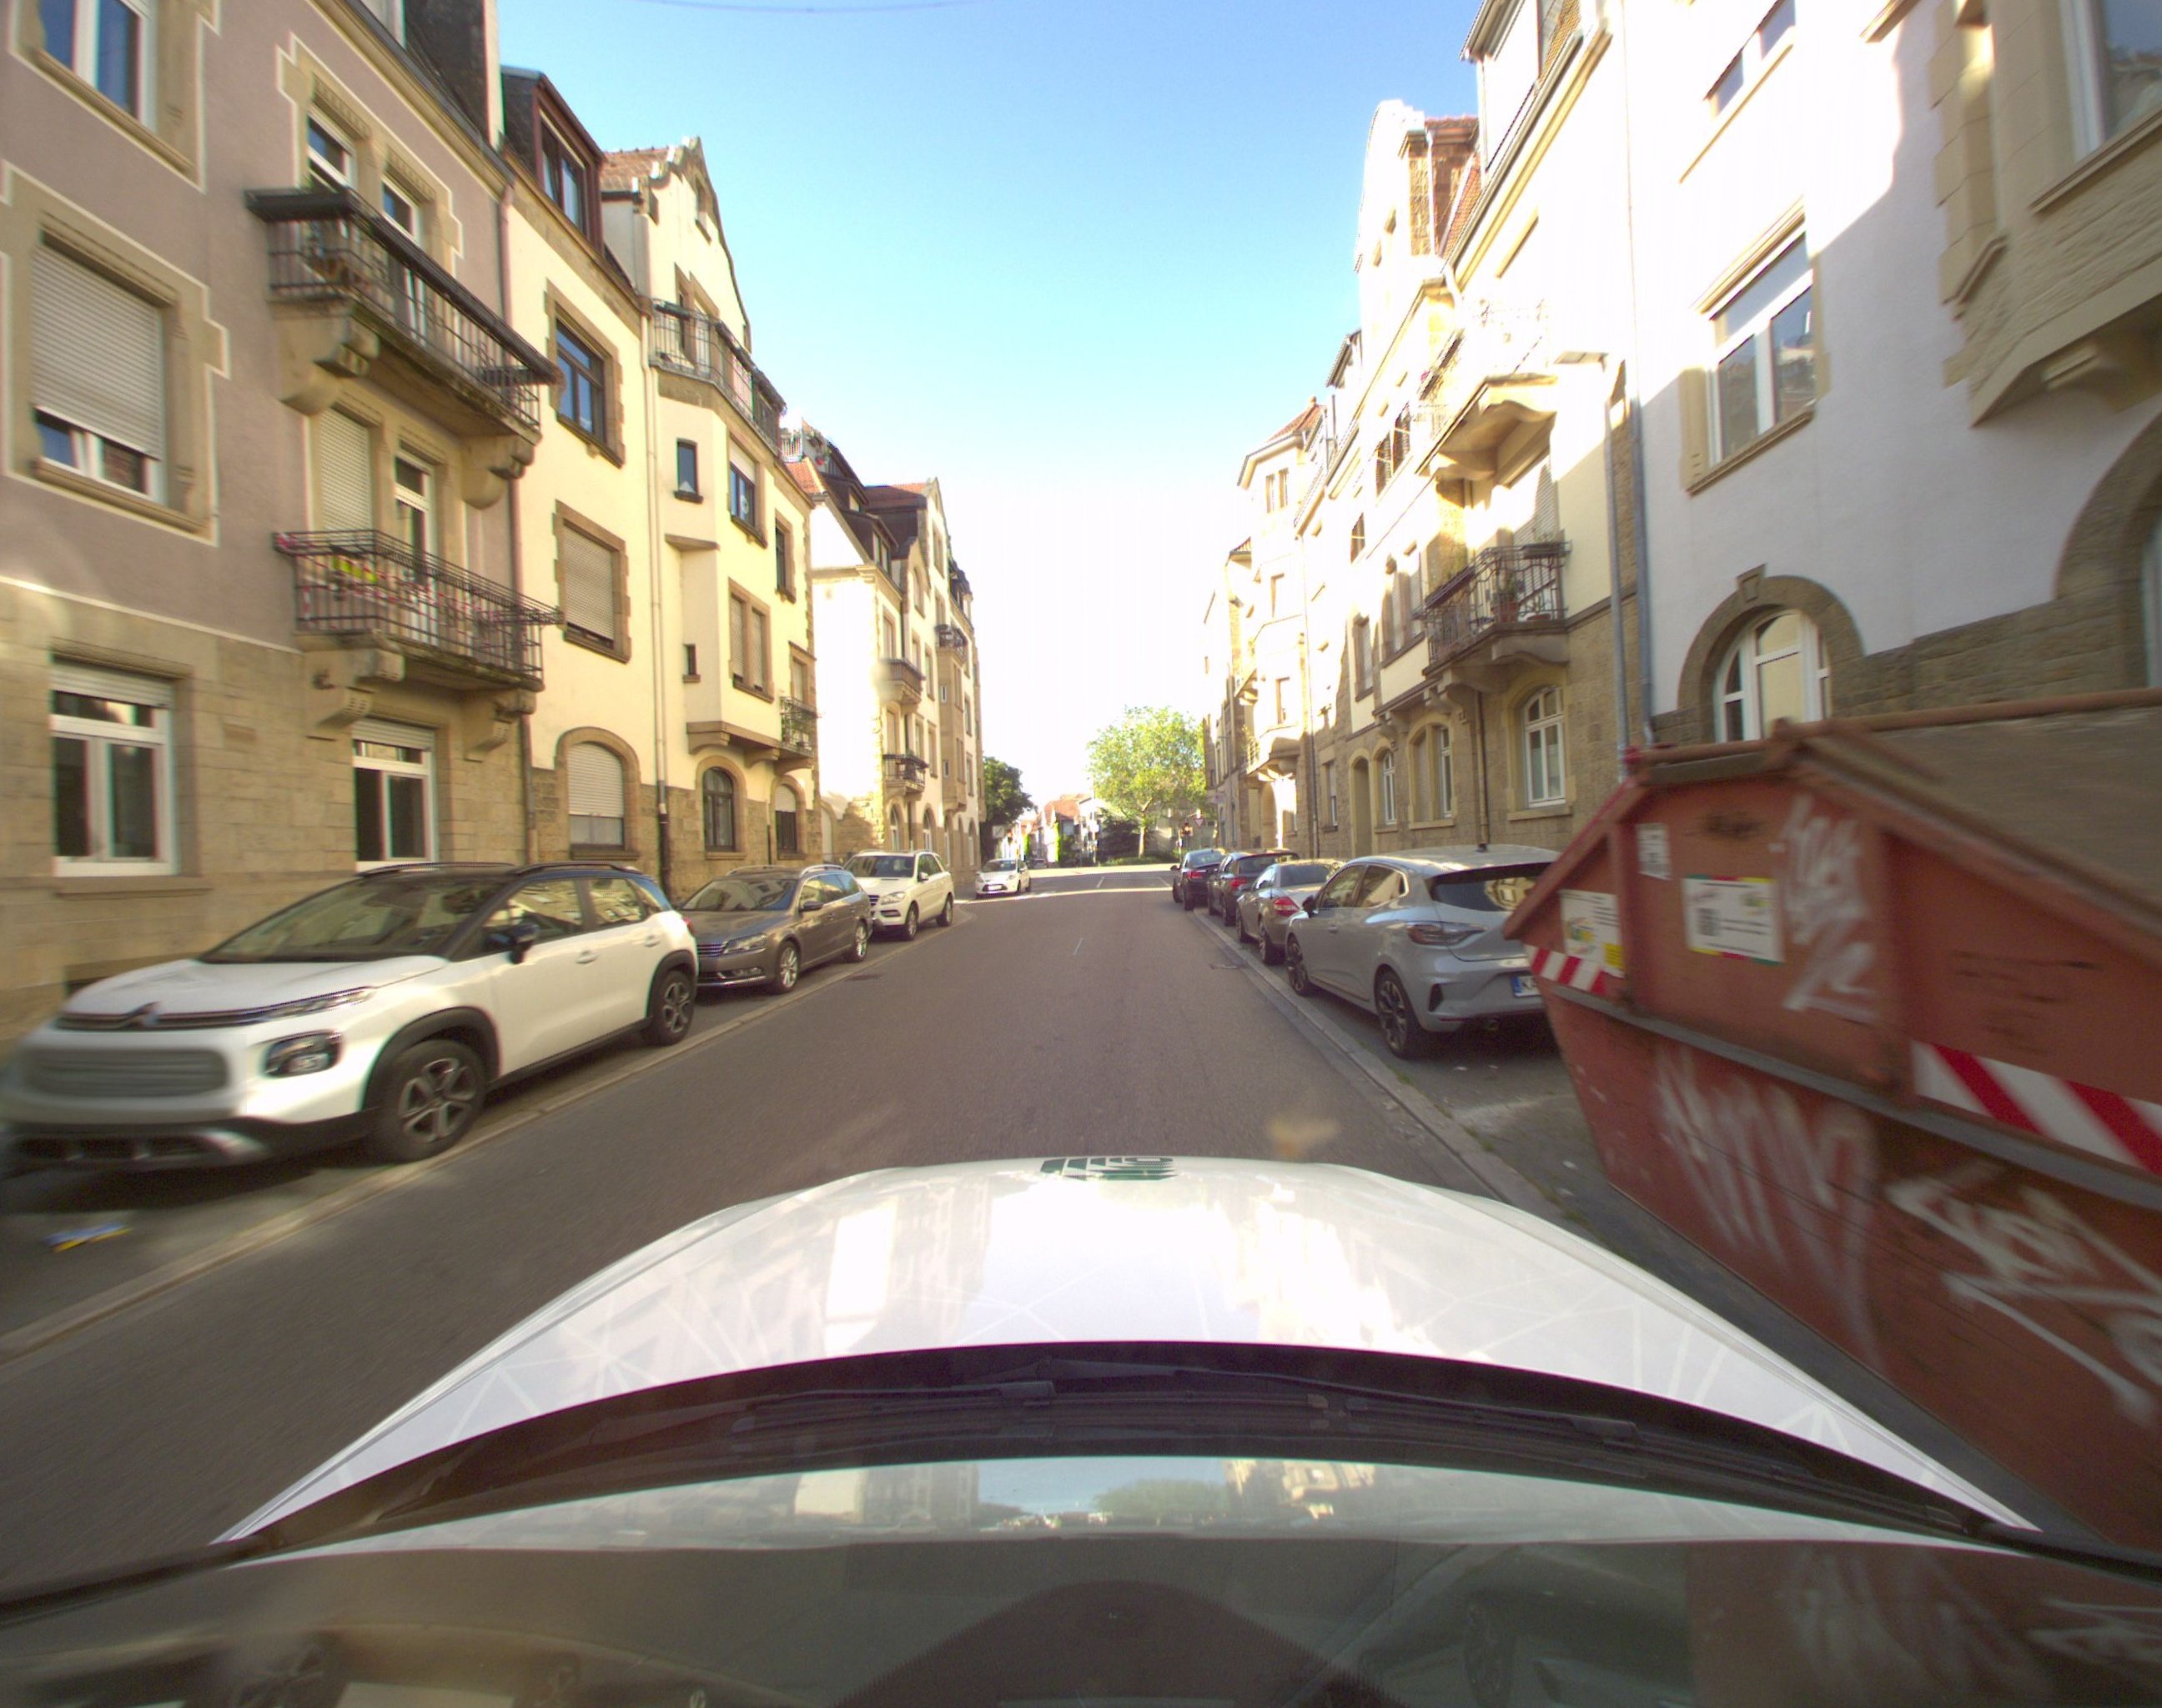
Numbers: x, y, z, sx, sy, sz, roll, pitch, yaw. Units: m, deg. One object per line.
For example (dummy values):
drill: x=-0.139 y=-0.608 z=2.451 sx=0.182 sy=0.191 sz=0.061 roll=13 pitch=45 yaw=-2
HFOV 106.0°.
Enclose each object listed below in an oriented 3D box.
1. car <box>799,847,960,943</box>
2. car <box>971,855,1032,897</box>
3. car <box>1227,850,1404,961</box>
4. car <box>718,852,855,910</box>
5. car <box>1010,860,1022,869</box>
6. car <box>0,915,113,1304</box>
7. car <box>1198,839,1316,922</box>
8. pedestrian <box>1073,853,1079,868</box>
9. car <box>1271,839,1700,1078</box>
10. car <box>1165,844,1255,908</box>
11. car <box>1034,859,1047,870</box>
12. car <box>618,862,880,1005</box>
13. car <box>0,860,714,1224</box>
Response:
car: x=-3.972 y=0.744 z=16.972 sx=1.884 sy=1.722 sz=4.730 roll=0 pitch=0 yaw=4
car: x=-3.047 y=0.828 z=32.011 sx=1.626 sy=1.464 sz=3.740 roll=-2 pitch=0 yaw=6
car: x=3.211 y=0.626 z=11.916 sx=1.685 sy=1.254 sz=3.946 roll=-3 pitch=0 yaw=4
car: x=-10.188 y=0.918 z=28.384 sx=3.953 sy=1.728 sz=1.910 roll=-3 pitch=0 yaw=2
car: x=-11.189 y=1.828 z=140.587 sx=1.737 sy=1.336 sz=3.822 roll=-3 pitch=0 yaw=-9
car: x=-4.809 y=0.953 z=1.478 sx=1.666 sy=1.393 sz=3.667 roll=1 pitch=0 yaw=1
car: x=3.548 y=0.474 z=17.118 sx=1.645 sy=1.442 sz=4.261 roll=-3 pitch=0 yaw=2
pedestrian: x=-0.638 y=0.782 z=100.489 sx=0.631 sy=1.750 sz=0.659 roll=-2 pitch=-1 yaw=0
car: x=3.015 y=0.654 z=7.073 sx=1.780 sy=1.429 sz=3.806 roll=-3 pitch=0 yaw=0
car: x=3.360 y=0.529 z=21.962 sx=1.858 sy=1.462 sz=4.342 roll=-4 pitch=0 yaw=3
car: x=-5.515 y=1.443 z=112.306 sx=1.669 sy=1.483 sz=3.519 roll=-2 pitch=-1 yaw=-2
car: x=-4.204 y=0.901 z=11.140 sx=1.567 sy=1.487 sz=4.284 roll=-1 pitch=0 yaw=4
car: x=-4.396 y=0.874 z=5.733 sx=1.708 sy=1.583 sz=4.021 roll=1 pitch=0 yaw=1
